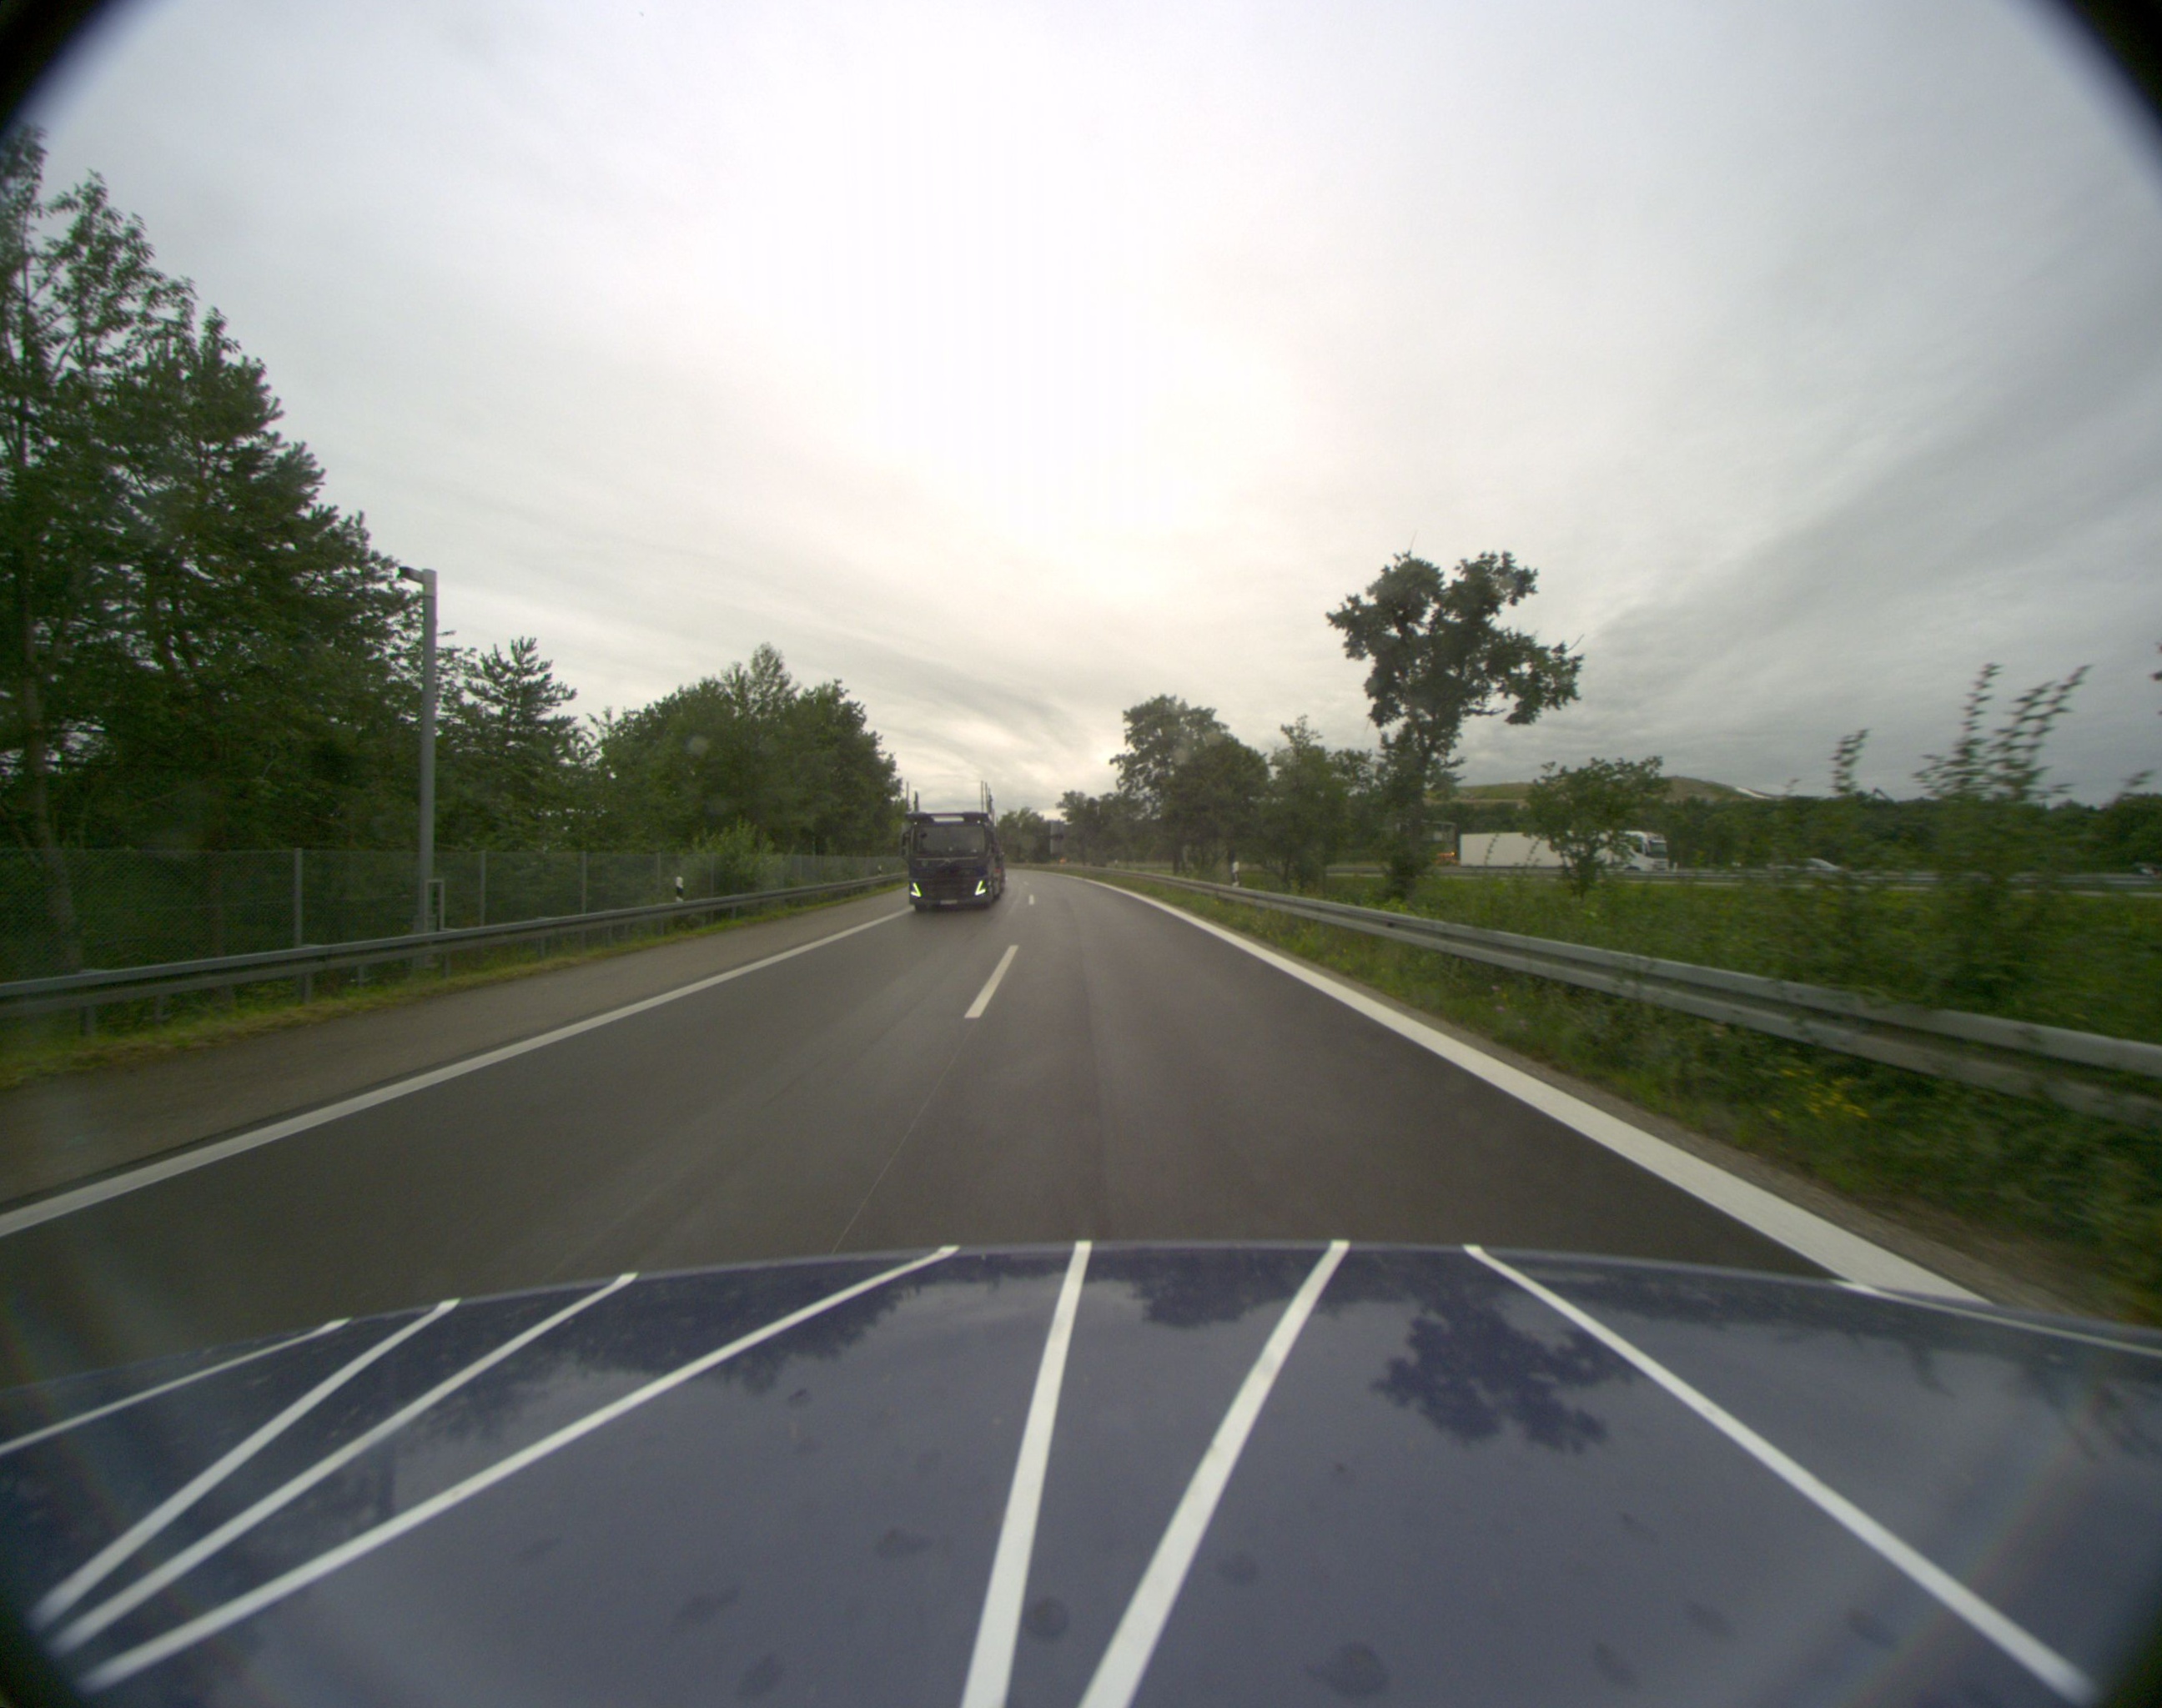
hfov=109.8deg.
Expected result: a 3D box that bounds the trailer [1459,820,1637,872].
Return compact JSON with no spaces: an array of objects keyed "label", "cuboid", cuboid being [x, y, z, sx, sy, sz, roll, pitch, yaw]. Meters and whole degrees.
[{"label":"trailer","cuboid":[40.385,-0.605,66.774,2.779,4.111,13.920,-1,0,-27]}]

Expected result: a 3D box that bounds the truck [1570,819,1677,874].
[{"label":"truck","cuboid":[43.369,-0.569,60.998,2.779,4.111,6.431,-1,0,-27]}]

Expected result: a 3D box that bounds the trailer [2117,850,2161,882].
[{"label":"trailer","cuboid":[55.545,0.601,38.337,1.891,1.617,3.602,-1,1,-27]}]

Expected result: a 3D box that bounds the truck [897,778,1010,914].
[{"label":"truck","cuboid":[-4.206,-0.228,27.142,2.746,3.944,9.126,-3,0,-3]}]

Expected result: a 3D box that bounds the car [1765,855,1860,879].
[{"label":"car","cuboid":[51.859,0.877,53.973,1.908,1.641,4.475,0,0,-28]}]

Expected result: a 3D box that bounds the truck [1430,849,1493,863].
[{"label":"truck","cuboid":[54.976,0.263,110.001,2.002,2.002,8.795,-1,1,-25]}]

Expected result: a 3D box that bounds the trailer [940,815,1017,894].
[{"label":"trailer","cuboid":[-4.697,0.024,36.819,2.785,3.265,10.404,-1,0,-3]}]
